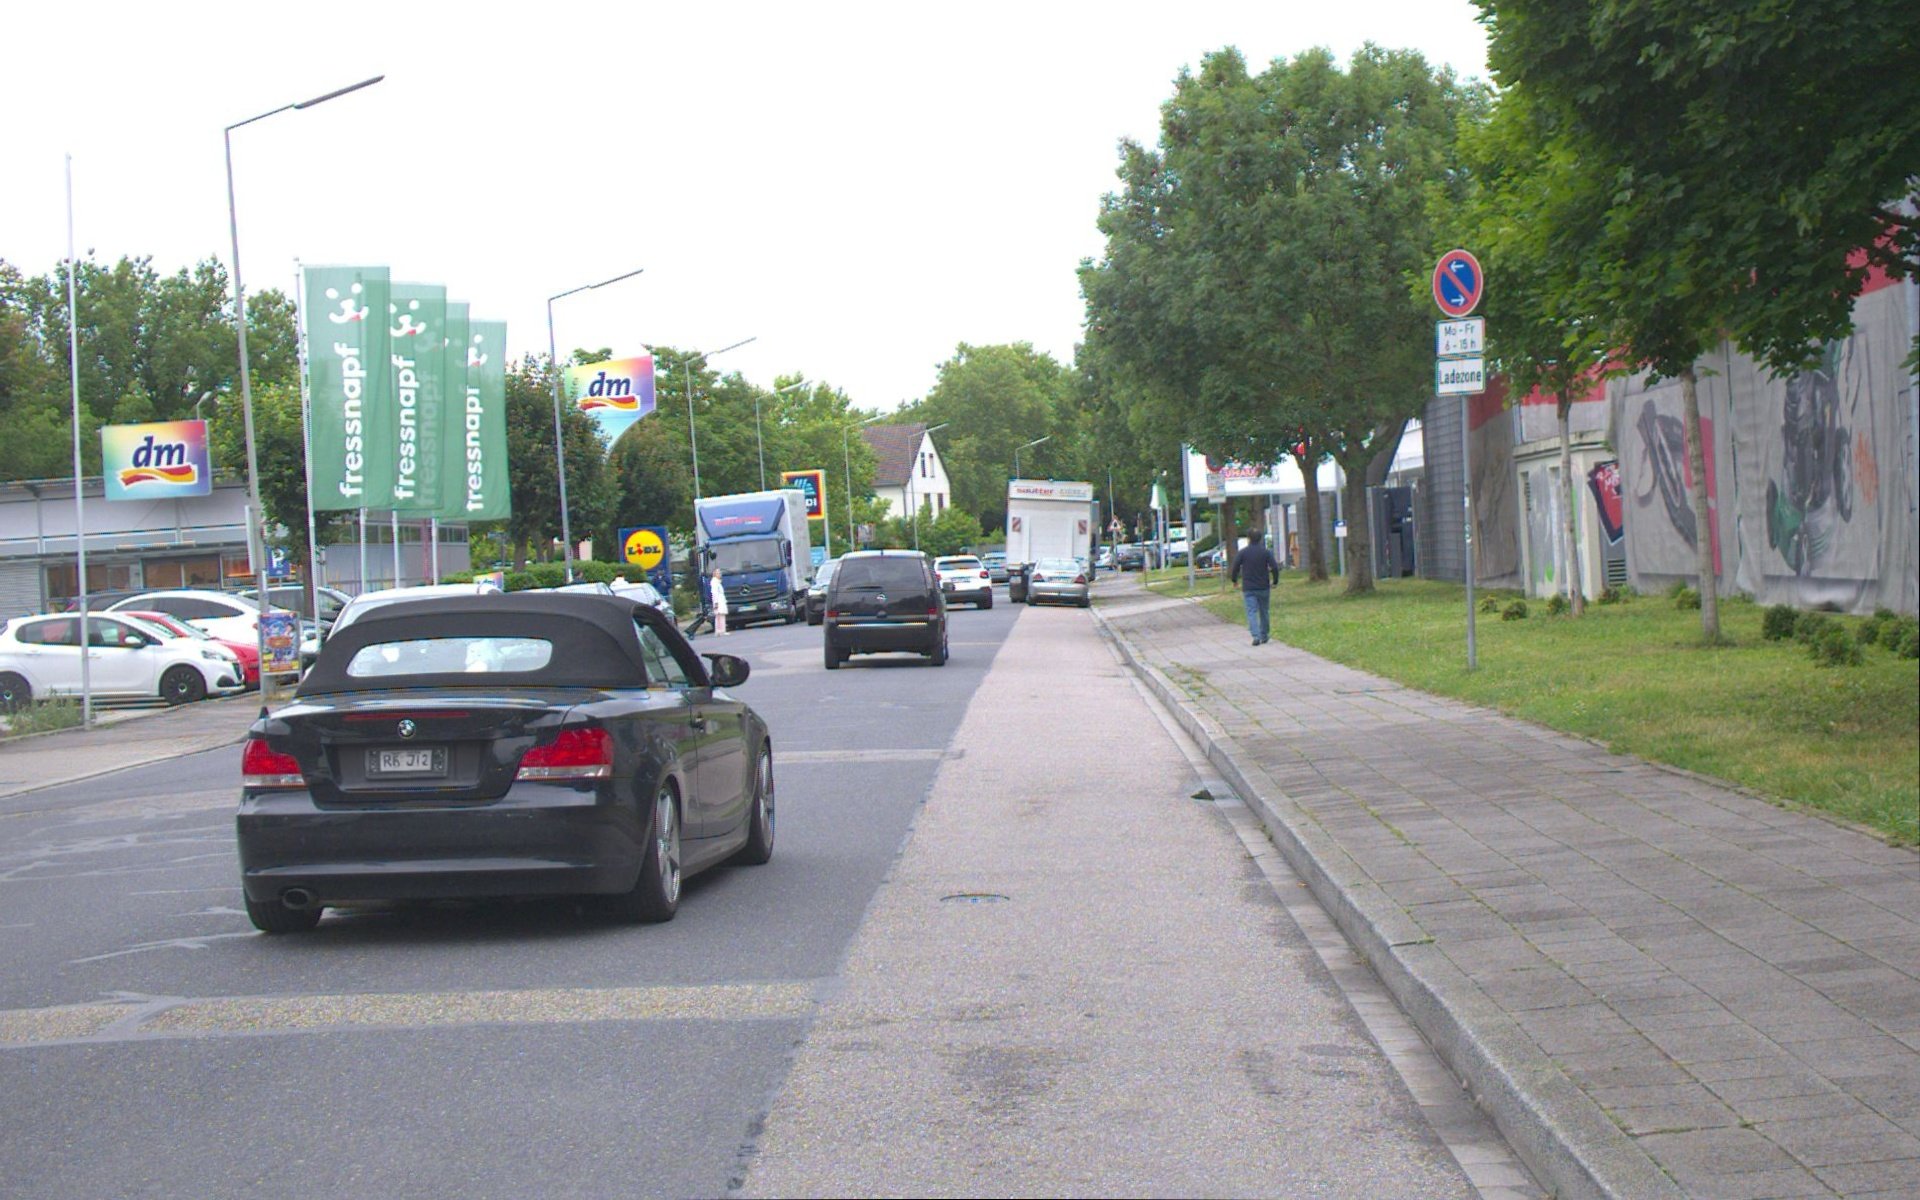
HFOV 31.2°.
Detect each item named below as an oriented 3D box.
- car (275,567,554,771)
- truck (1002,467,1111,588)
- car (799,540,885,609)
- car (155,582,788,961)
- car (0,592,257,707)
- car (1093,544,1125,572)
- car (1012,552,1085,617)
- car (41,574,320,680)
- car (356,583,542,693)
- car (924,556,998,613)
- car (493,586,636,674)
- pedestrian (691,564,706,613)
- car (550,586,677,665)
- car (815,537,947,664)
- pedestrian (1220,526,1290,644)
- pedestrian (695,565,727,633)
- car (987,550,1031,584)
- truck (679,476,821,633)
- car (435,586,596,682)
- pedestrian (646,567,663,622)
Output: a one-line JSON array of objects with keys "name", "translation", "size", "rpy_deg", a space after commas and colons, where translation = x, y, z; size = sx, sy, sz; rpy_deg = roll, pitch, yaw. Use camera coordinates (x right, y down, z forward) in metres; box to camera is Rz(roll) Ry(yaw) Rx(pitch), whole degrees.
[{"name": "car", "translation": [-4.612, 0.544, 29.505], "size": [1.599, 1.523, 3.528], "rpy_deg": [-5, 0, 2]}, {"name": "truck", "translation": [2.983, -2.203, 108.896], "size": [3.135, 3.572, 10.050], "rpy_deg": [-2, 0, 0]}, {"name": "car", "translation": [-3.003, -0.643, 88.349], "size": [1.993, 1.678, 4.000], "rpy_deg": [-2, 0, 0]}, {"name": "car", "translation": [-1.972, 0.650, 15.152], "size": [1.746, 1.354, 4.137], "rpy_deg": [-3, 0, 6]}, {"name": "car", "translation": [-12.835, 0.743, 51.621], "size": [4.202, 1.458, 1.953], "rpy_deg": [-4, 1, -6]}, {"name": "car", "translation": [9.175, -2.572, 211.844], "size": [1.886, 1.677, 4.254], "rpy_deg": [-1, 1, 2]}, {"name": "car", "translation": [2.549, -0.455, 99.655], "size": [1.993, 1.800, 4.000], "rpy_deg": [-2, 0, 0]}, {"name": "car", "translation": [-12.786, 0.431, 56.580], "size": [4.135, 1.458, 1.899], "rpy_deg": [-3, 1, -3]}, {"name": "car", "translation": [-7.292, 0.515, 49.412], "size": [1.898, 1.362, 4.000], "rpy_deg": [-3, 1, 2]}, {"name": "car", "translation": [0.052, -0.454, 96.441], "size": [1.886, 1.526, 4.254], "rpy_deg": [-1, 1, 2]}, {"name": "car", "translation": [-6.997, 0.507, 61.231], "size": [1.898, 1.362, 4.000], "rpy_deg": [-3, 1, 2]}, {"name": "pedestrian", "translation": [-8.355, -0.367, 109.781], "size": [0.401, 1.526, 0.485], "rpy_deg": [-4, 1, -4]}, {"name": "car", "translation": [-6.738, 0.479, 67.170], "size": [1.898, 1.362, 4.000], "rpy_deg": [-3, 1, 2]}, {"name": "car", "translation": [-1.077, -0.015, 48.528], "size": [1.681, 1.626, 3.759], "rpy_deg": [-3, 1, 0]}, {"name": "pedestrian", "translation": [4.191, -0.215, 48.871], "size": [0.919, 1.629, 0.852], "rpy_deg": [-2, 0, 4]}, {"name": "pedestrian", "translation": [-6.066, -0.025, 83.777], "size": [0.631, 1.631, 0.668], "rpy_deg": [-3, 1, 1]}, {"name": "car", "translation": [2.290, -1.533, 159.310], "size": [1.886, 1.526, 4.254], "rpy_deg": [-1, 1, 2]}, {"name": "truck", "translation": [-5.719, -1.256, 94.624], "size": [2.974, 3.942, 6.404], "rpy_deg": [-5, 1, 2]}, {"name": "car", "translation": [-7.145, 0.520, 55.642], "size": [1.898, 1.362, 4.000], "rpy_deg": [-3, 1, 2]}, {"name": "pedestrian", "translation": [-8.743, -0.158, 98.467], "size": [0.401, 1.526, 0.485], "rpy_deg": [-4, 1, -4]}]
